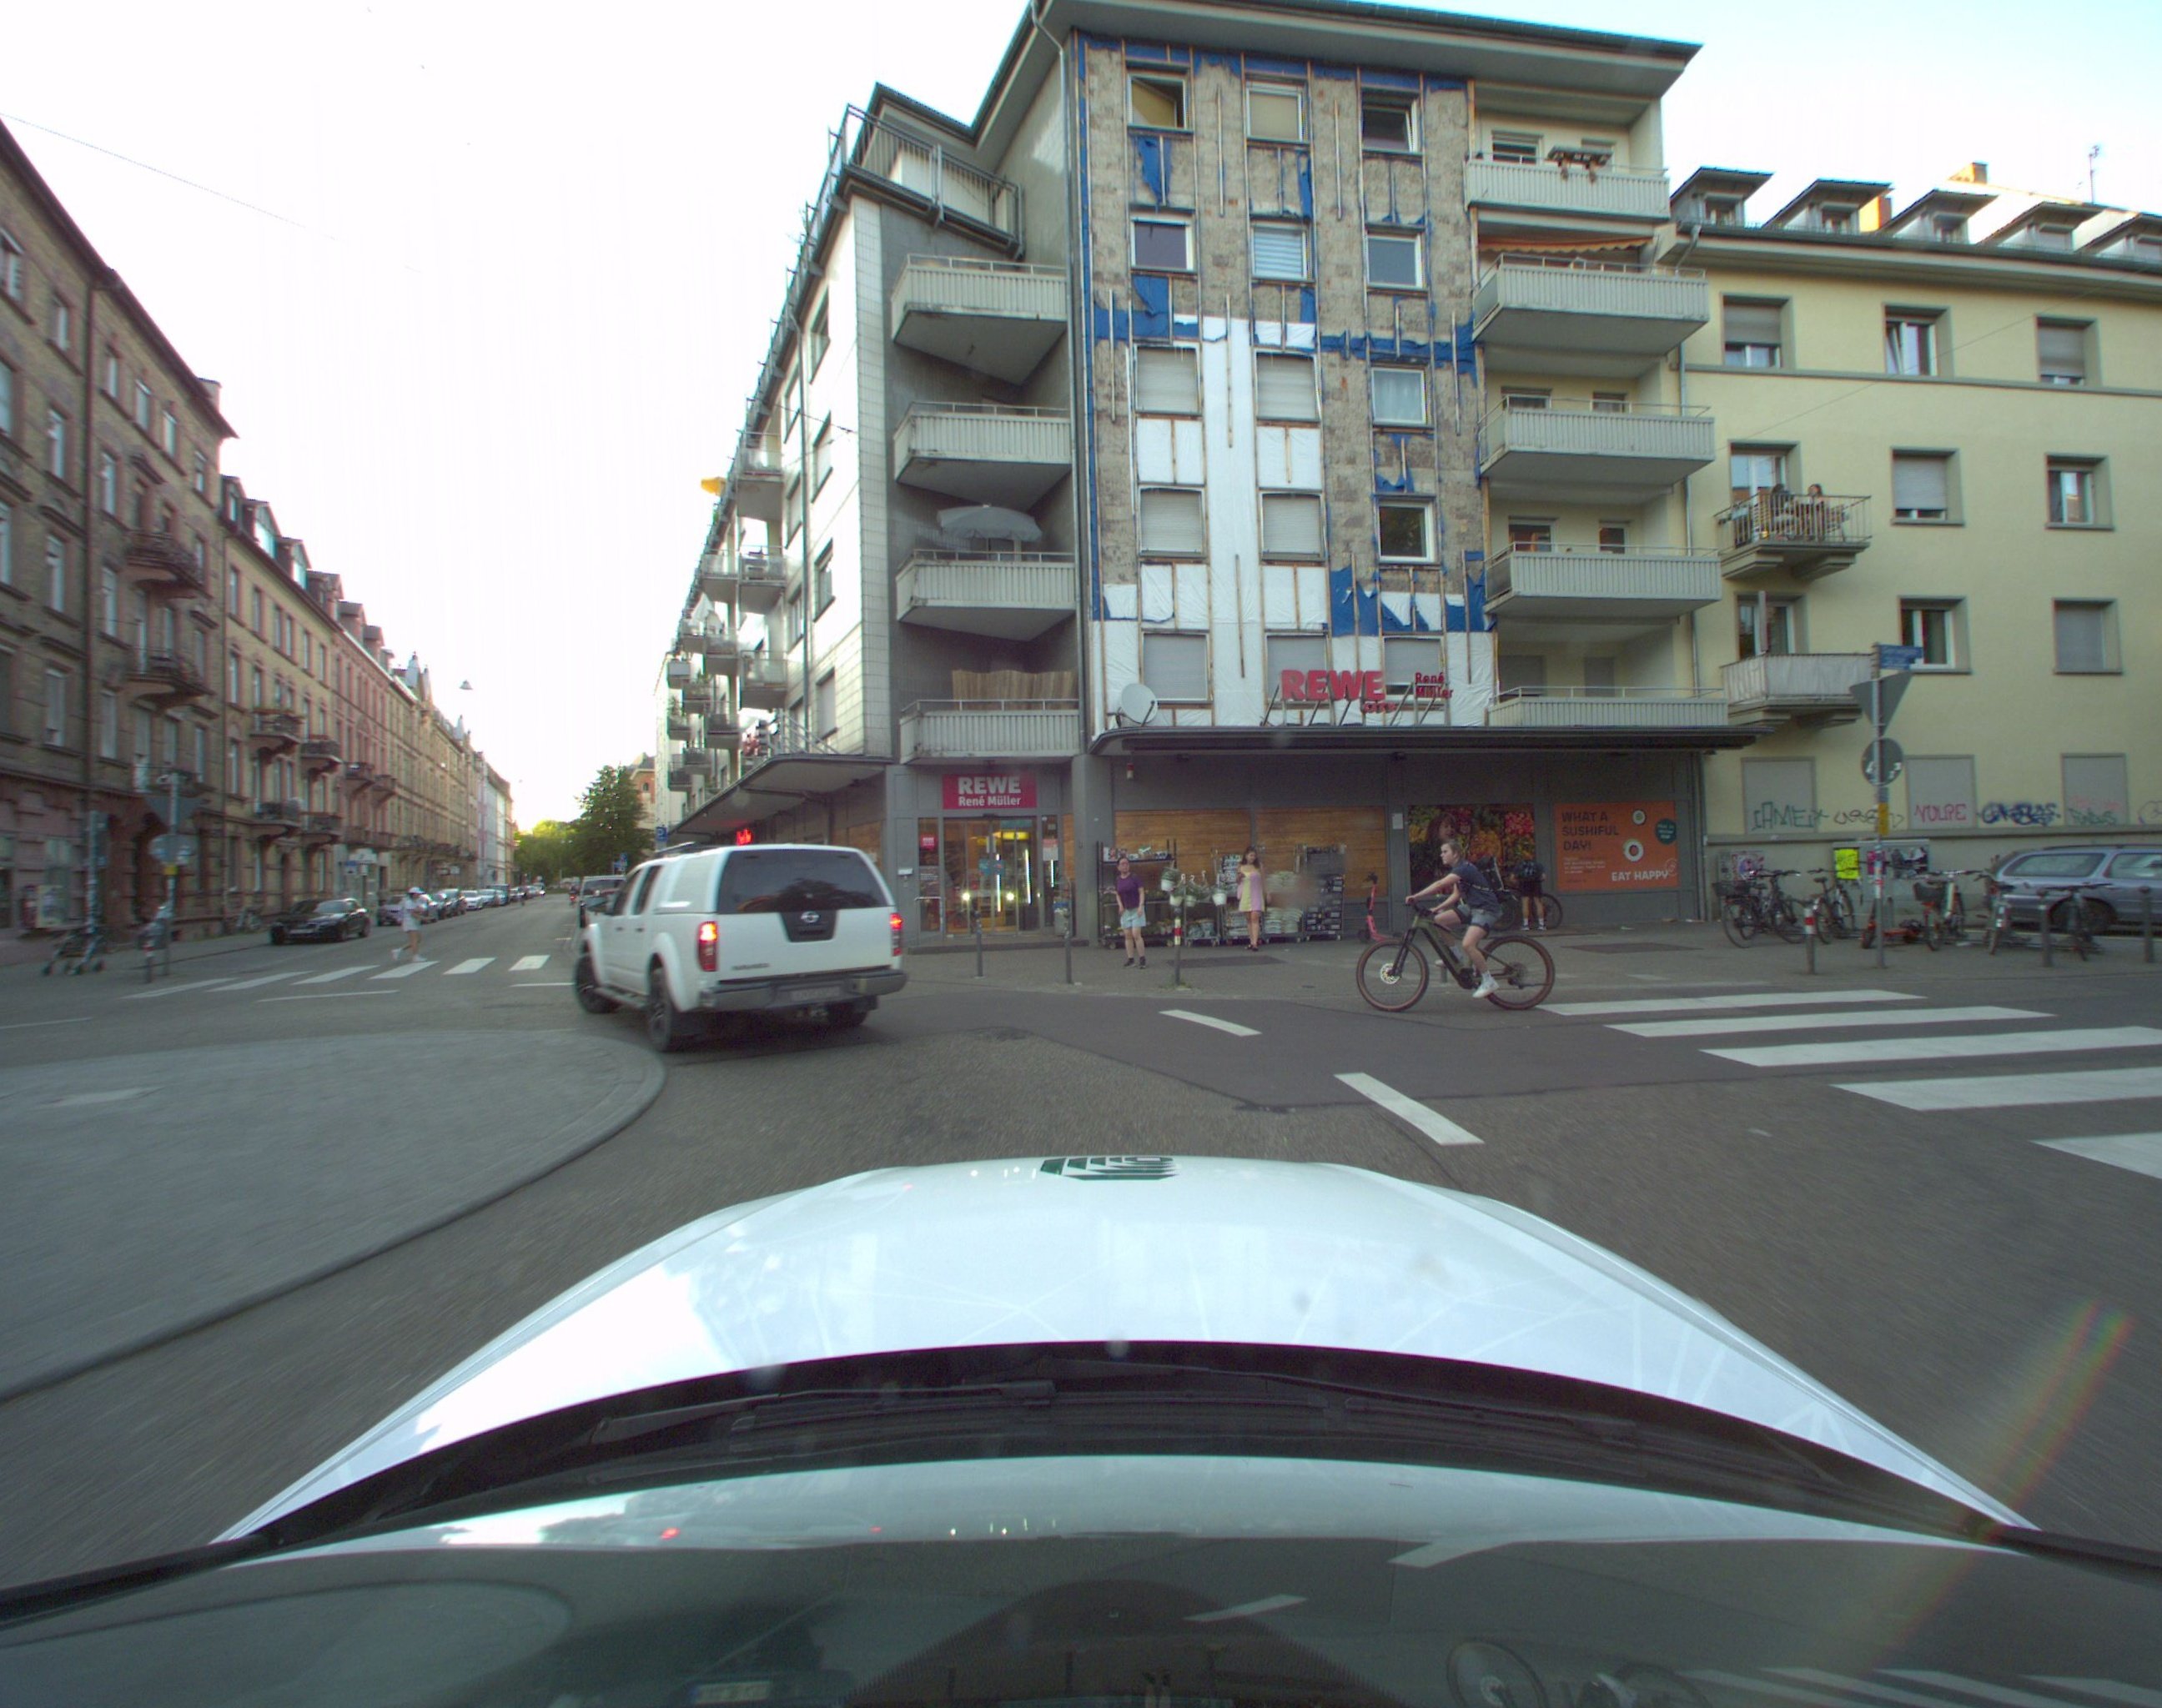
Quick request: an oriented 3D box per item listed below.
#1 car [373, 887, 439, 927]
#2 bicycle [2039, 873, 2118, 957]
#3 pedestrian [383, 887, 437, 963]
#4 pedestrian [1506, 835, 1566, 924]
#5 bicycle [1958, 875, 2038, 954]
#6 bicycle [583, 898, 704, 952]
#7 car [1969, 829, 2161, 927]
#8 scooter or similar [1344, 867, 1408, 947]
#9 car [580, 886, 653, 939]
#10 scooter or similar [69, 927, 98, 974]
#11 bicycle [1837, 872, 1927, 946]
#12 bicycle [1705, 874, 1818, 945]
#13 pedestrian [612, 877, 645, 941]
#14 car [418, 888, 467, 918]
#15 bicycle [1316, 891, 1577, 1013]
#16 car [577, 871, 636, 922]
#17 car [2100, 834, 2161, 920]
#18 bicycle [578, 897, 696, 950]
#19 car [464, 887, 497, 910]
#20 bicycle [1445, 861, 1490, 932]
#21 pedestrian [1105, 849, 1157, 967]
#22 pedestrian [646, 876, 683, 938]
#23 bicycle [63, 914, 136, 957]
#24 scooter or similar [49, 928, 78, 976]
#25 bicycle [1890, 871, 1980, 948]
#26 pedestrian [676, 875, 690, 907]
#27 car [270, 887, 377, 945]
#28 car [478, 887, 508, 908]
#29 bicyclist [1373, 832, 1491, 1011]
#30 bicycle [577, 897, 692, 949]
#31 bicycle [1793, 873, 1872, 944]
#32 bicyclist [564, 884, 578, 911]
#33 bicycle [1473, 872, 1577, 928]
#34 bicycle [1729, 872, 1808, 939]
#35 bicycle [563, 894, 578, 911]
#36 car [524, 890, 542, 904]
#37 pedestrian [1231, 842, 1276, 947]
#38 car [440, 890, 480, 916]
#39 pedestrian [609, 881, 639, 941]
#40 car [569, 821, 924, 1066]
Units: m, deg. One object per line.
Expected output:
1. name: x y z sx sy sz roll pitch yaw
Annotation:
1. car: -32.221 2.501 38.981 1.847 1.750 4.120 1 -3 -32
2. bicycle: 13.267 0.779 10.818 2.024 1.027 0.486 1 -3 -36
3. pedestrian: -14.883 1.554 18.098 0.803 1.621 0.934 1 -3 -34
4. pedestrian: 8.462 0.471 15.176 0.662 1.601 0.717 -1 -3 -1
5. bicycle: 12.863 0.810 11.406 2.024 1.027 0.486 1 -3 -36
6. bicycle: -10.612 1.696 19.814 2.480 1.038 0.610 -4 0 -36
7. car: 17.657 0.375 13.076 2.011 1.526 4.488 2 -3 -44
8. scooter or similar: 4.959 0.862 13.747 0.322 1.266 1.282 0 -1 -16
9. car: -14.885 1.812 26.007 1.847 1.542 3.959 1 -3 -32
10. scooter or similar: -20.884 2.012 17.052 1.249 0.929 0.235 -3 -3 33
11. bicycle: 12.044 0.795 12.228 2.023 1.027 0.486 1 -3 -33
12. bicycle: 10.358 0.832 12.399 1.659 1.027 0.376 0 -3 -14
13. pedestrian: -12.004 1.438 21.615 0.724 1.663 0.695 1 -3 -31
14. car: -38.219 2.896 48.807 1.847 1.679 3.996 1 -3 -32
15. bicycle: 3.572 0.941 8.166 2.259 1.073 0.795 -2 -1 19
16. car: -19.486 1.733 33.395 1.956 1.934 3.959 1 -3 -32
17. car: 20.743 0.341 13.419 2.001 1.526 4.511 0 -3 -21
18. bicycle: -11.047 1.716 20.336 2.481 1.038 0.610 -4 0 -37
19. car: -48.242 3.540 65.476 1.847 1.750 3.959 1 -3 -32
20. bicycle: 6.972 0.762 14.737 0.345 1.203 1.815 -1 -3 14
21. pedestrian: 0.732 0.769 11.839 0.708 1.652 0.719 -1 -3 4
22. pedestrian: -11.496 1.446 22.506 0.700 1.663 0.720 0 -3 -9
23. bicycle: -26.220 2.151 21.799 0.389 1.037 2.458 1 -3 -30
24. scooter or similar: -21.028 2.005 16.830 1.249 0.929 0.235 -3 -3 33
25. bicycle: 12.366 0.771 11.779 2.023 1.027 0.486 1 -3 -33
26. pedestrian: -22.955 2.115 46.972 0.637 1.811 0.481 0 -3 -19
27. car: -25.035 1.997 27.076 1.847 1.750 3.959 1 -3 -32
28. car: -52.090 3.847 72.181 1.847 1.750 3.959 1 -3 -32
29. bicyclist: 3.497 0.648 8.199 0.986 1.689 0.795 -2 -1 19
30. bicycle: -11.423 1.744 20.882 2.481 1.038 0.610 -4 0 -37
31. bicycle: 11.718 0.819 12.682 2.023 1.027 0.374 1 -3 -33
32. bicyclist: -37.572 3.219 59.956 0.844 1.944 0.776 1 -3 -34
33. bicycle: 8.515 0.868 15.627 1.874 1.027 0.377 -1 -3 -8
34. bicycle: 11.292 0.821 13.351 2.023 1.027 0.374 1 -3 -33
35. bicycle: -37.549 3.549 59.900 0.844 1.171 1.915 1 -3 -34
36. car: -72.809 5.679 108.275 1.847 1.750 3.959 1 -3 -32
37. pedestrian: 2.897 0.678 13.726 0.660 1.726 0.723 -1 -3 7
38. car: -43.706 3.426 57.357 1.847 1.750 3.959 1 -3 -32
39. pedestrian: -12.980 1.597 23.141 0.704 1.663 0.716 0 -3 -27
40. car: -3.777 0.756 8.542 1.955 1.810 4.941 0 -2 -41
